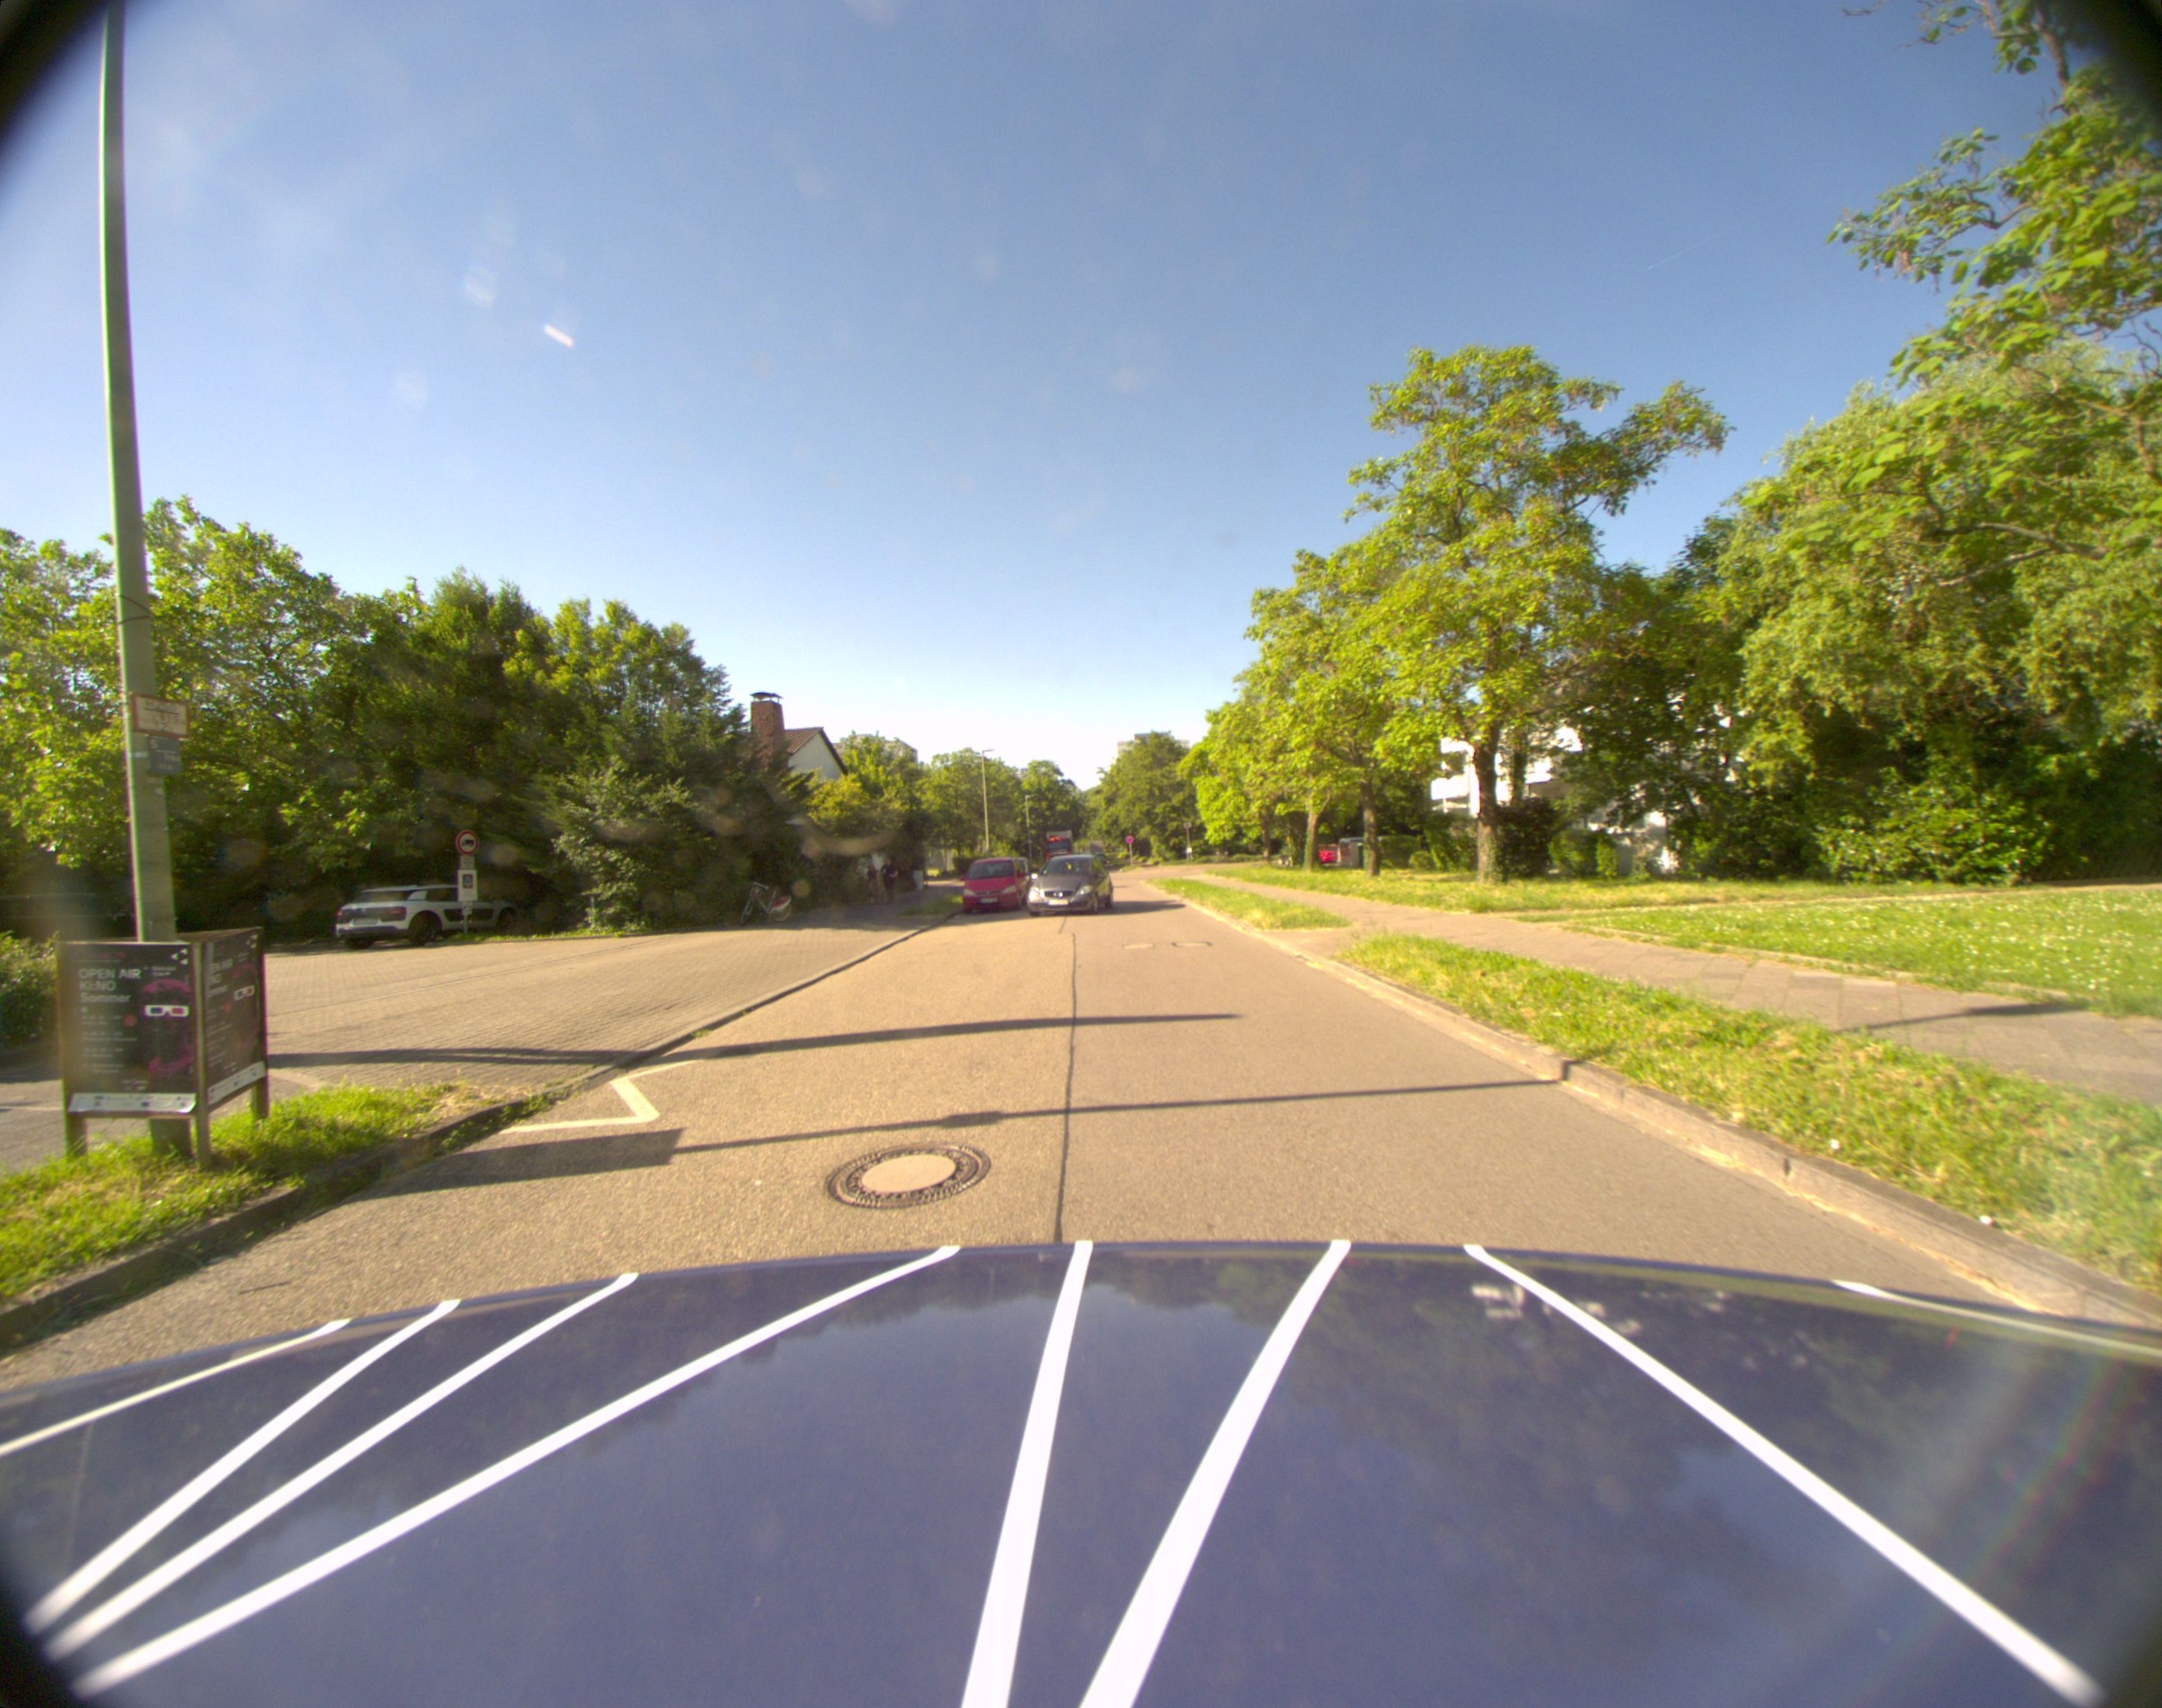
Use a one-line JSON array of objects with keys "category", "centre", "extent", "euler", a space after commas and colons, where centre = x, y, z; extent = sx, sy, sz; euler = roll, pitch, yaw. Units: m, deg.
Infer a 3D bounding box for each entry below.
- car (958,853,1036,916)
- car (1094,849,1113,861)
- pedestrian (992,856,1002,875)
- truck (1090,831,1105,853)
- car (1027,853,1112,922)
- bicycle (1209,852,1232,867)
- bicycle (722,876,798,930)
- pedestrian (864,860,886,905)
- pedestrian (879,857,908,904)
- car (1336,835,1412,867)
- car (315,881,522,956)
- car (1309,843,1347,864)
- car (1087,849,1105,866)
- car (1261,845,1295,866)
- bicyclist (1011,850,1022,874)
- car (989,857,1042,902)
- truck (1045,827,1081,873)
[{"category": "car", "centre": [-2.636, 0.899, 24.884], "extent": [1.844, 1.795, 4.654], "euler": [-3, 0, 2]}, {"category": "car", "centre": [2.843, 0.109, 97.931], "extent": [1.667, 1.458, 4.184], "euler": [-1, 2, -9]}, {"category": "pedestrian", "centre": [-7.470, 0.995, 67.567], "extent": [0.641, 1.629, 0.641], "euler": [-3, 1, 3]}, {"category": "truck", "centre": [3.130, -2.369, 144.377], "extent": [2.803, 3.996, 9.623], "euler": [-1, 2, 1]}, {"category": "car", "centre": [-0.224, 0.856, 21.135], "extent": [1.854, 1.635, 3.757], "euler": [-3, 0, 6]}, {"category": "bicycle", "centre": [12.185, 0.459, 66.281], "extent": [1.902, 1.146, 0.760], "euler": [-2, 4, 11]}, {"category": "bicycle", "centre": [-8.219, 1.222, 19.546], "extent": [0.721, 1.214, 1.898], "euler": [-1, 2, 17]}, {"category": "pedestrian", "centre": [-7.692, 1.062, 28.415], "extent": [0.574, 1.600, 0.792], "euler": [-1, 2, -3]}, {"category": "pedestrian", "centre": [-7.010, 0.983, 28.443], "extent": [0.806, 1.707, 0.983], "euler": [-1, 2, -3]}, {"category": "car", "centre": [20.150, -0.177, 52.417], "extent": [4.461, 1.957, 2.069], "euler": [-2, 0, 3]}, {"category": "car", "centre": [-16.396, 1.526, 19.107], "extent": [1.777, 1.494, 3.802], "euler": [-3, 0, 1]}, {"category": "car", "centre": [19.882, -0.037, 61.296], "extent": [1.674, 1.479, 3.884], "euler": [-3, 2, 0]}, {"category": "car", "centre": [1.697, 0.357, 84.761], "extent": [1.844, 1.795, 4.029], "euler": [-3, 1, 3]}, {"category": "car", "centre": [15.910, 0.129, 61.382], "extent": [1.674, 1.479, 3.884], "euler": [-3, 2, 0]}, {"category": "bicyclist", "centre": [-5.339, 0.656, 63.030], "extent": [0.753, 2.002, 0.711], "euler": [-3, 1, -1]}, {"category": "car", "centre": [-2.666, 0.994, 31.871], "extent": [1.729, 1.647, 4.352], "euler": [-3, 0, 0]}, {"category": "truck", "centre": [-1.783, -0.444, 80.189], "extent": [3.166, 4.320, 10.583], "euler": [-3, 1, 1]}]
